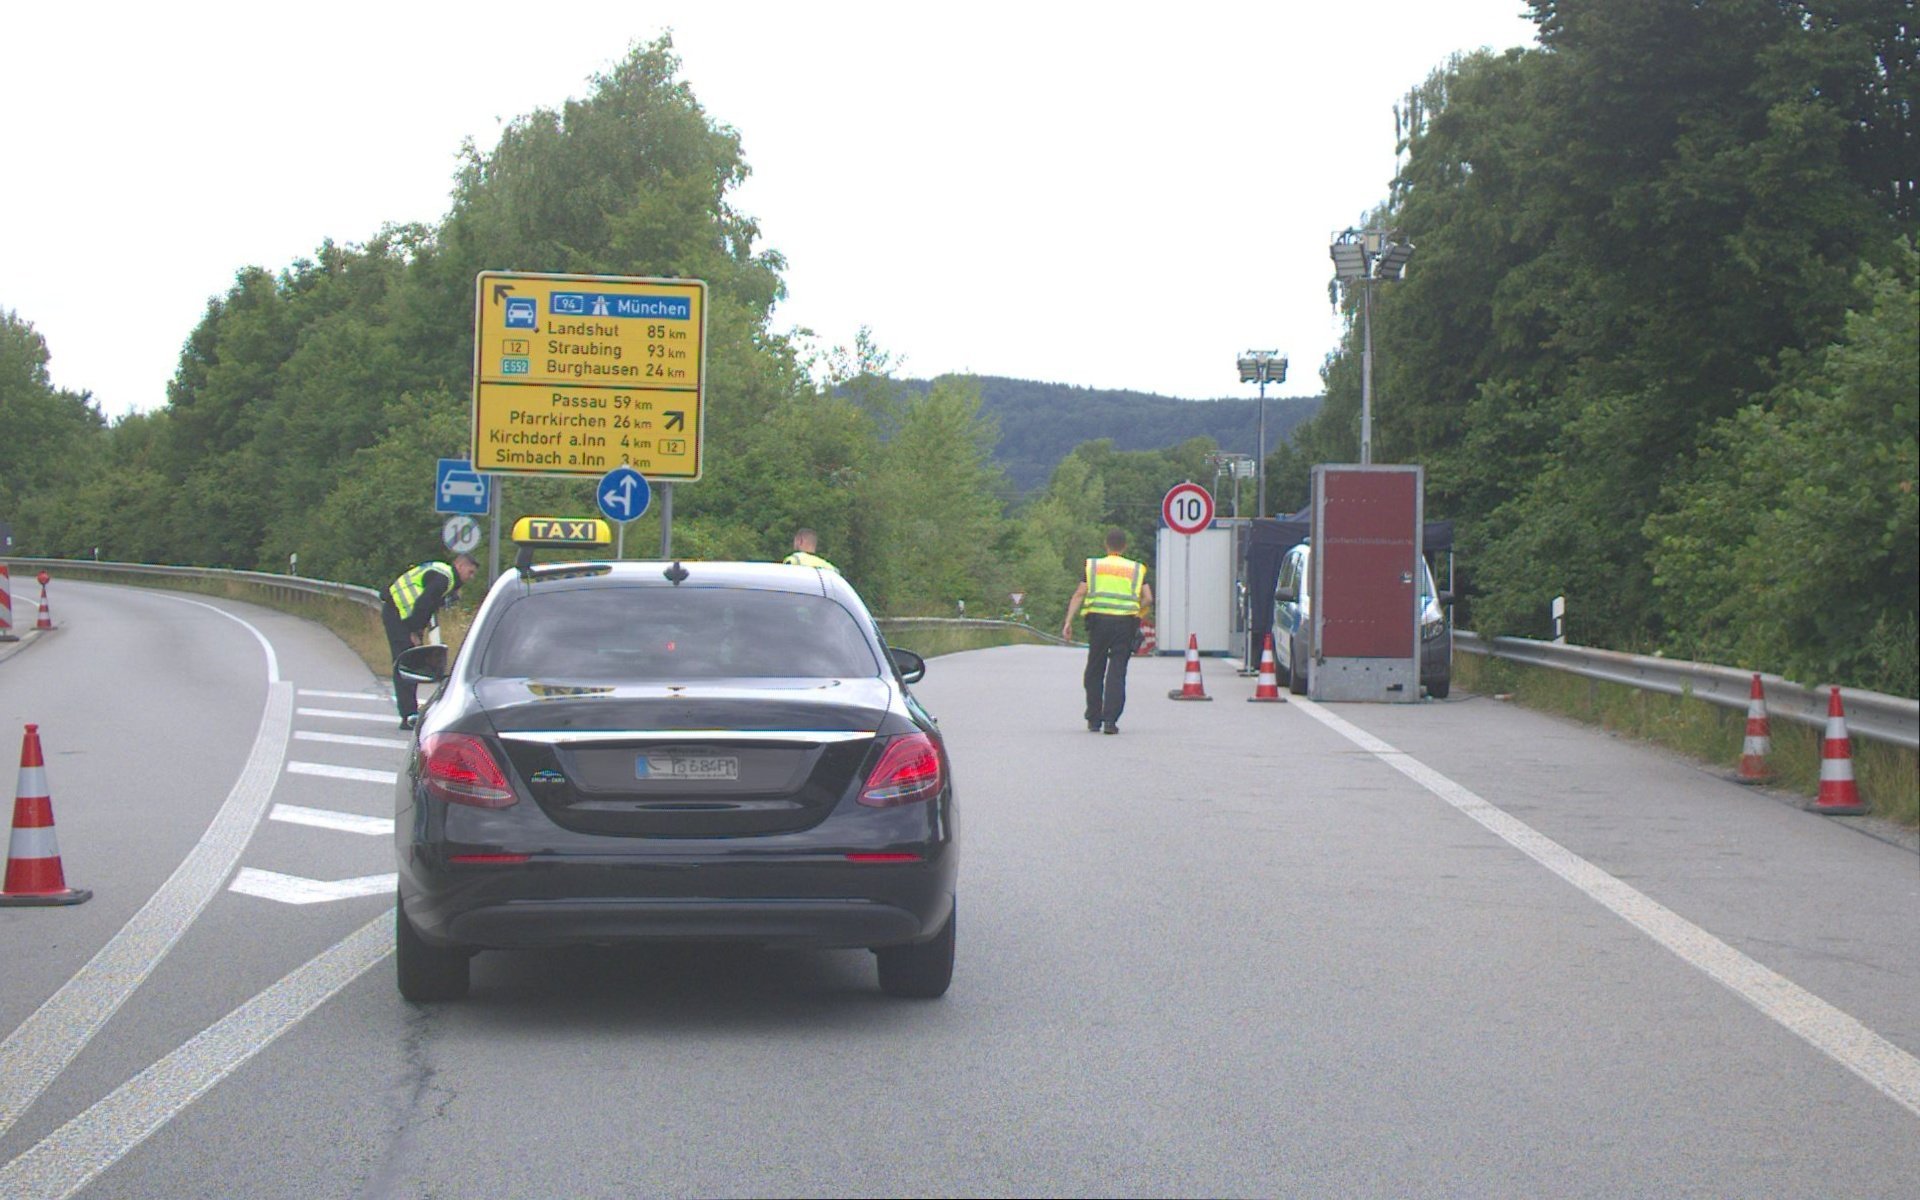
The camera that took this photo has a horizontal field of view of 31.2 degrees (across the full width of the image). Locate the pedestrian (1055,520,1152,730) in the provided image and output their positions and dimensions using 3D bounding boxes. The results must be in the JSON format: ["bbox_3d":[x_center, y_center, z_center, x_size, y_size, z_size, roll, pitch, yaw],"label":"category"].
[{"bbox_3d":[1.251,0.213,30.183,0.812,1.824,0.809,0,1,0],"label":"pedestrian"}]

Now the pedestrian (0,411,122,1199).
[{"bbox_3d":[-1.979,0.544,5.765,0.761,1.712,0.816,0,1,37],"label":"pedestrian"}]

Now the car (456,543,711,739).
[{"bbox_3d":[-3.042,0.283,28.504,1.855,1.493,4.257,0,1,-3],"label":"car"}]

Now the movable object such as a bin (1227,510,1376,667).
[{"bbox_3d":[5.146,-0.203,52.291,1.994,2.272,4.168,0,1,2],"label":"movable object such as a bin"}]

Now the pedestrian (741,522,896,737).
[{"bbox_3d":[-1.144,0.224,27.720,0.908,1.692,0.914,0,1,-31],"label":"pedestrian"}]

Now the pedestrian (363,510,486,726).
[{"bbox_3d":[-4.447,0.140,28.593,0.910,1.763,0.912,0,1,-3],"label":"pedestrian"}]

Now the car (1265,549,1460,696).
[{"bbox_3d":[5.015,0.225,43.453,1.916,1.672,5.083,2,1,1],"label":"car"}]

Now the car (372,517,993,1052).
[{"bbox_3d":[-1.117,0.515,12.495,1.855,1.589,4.376,0,1,-8],"label":"car"}]
